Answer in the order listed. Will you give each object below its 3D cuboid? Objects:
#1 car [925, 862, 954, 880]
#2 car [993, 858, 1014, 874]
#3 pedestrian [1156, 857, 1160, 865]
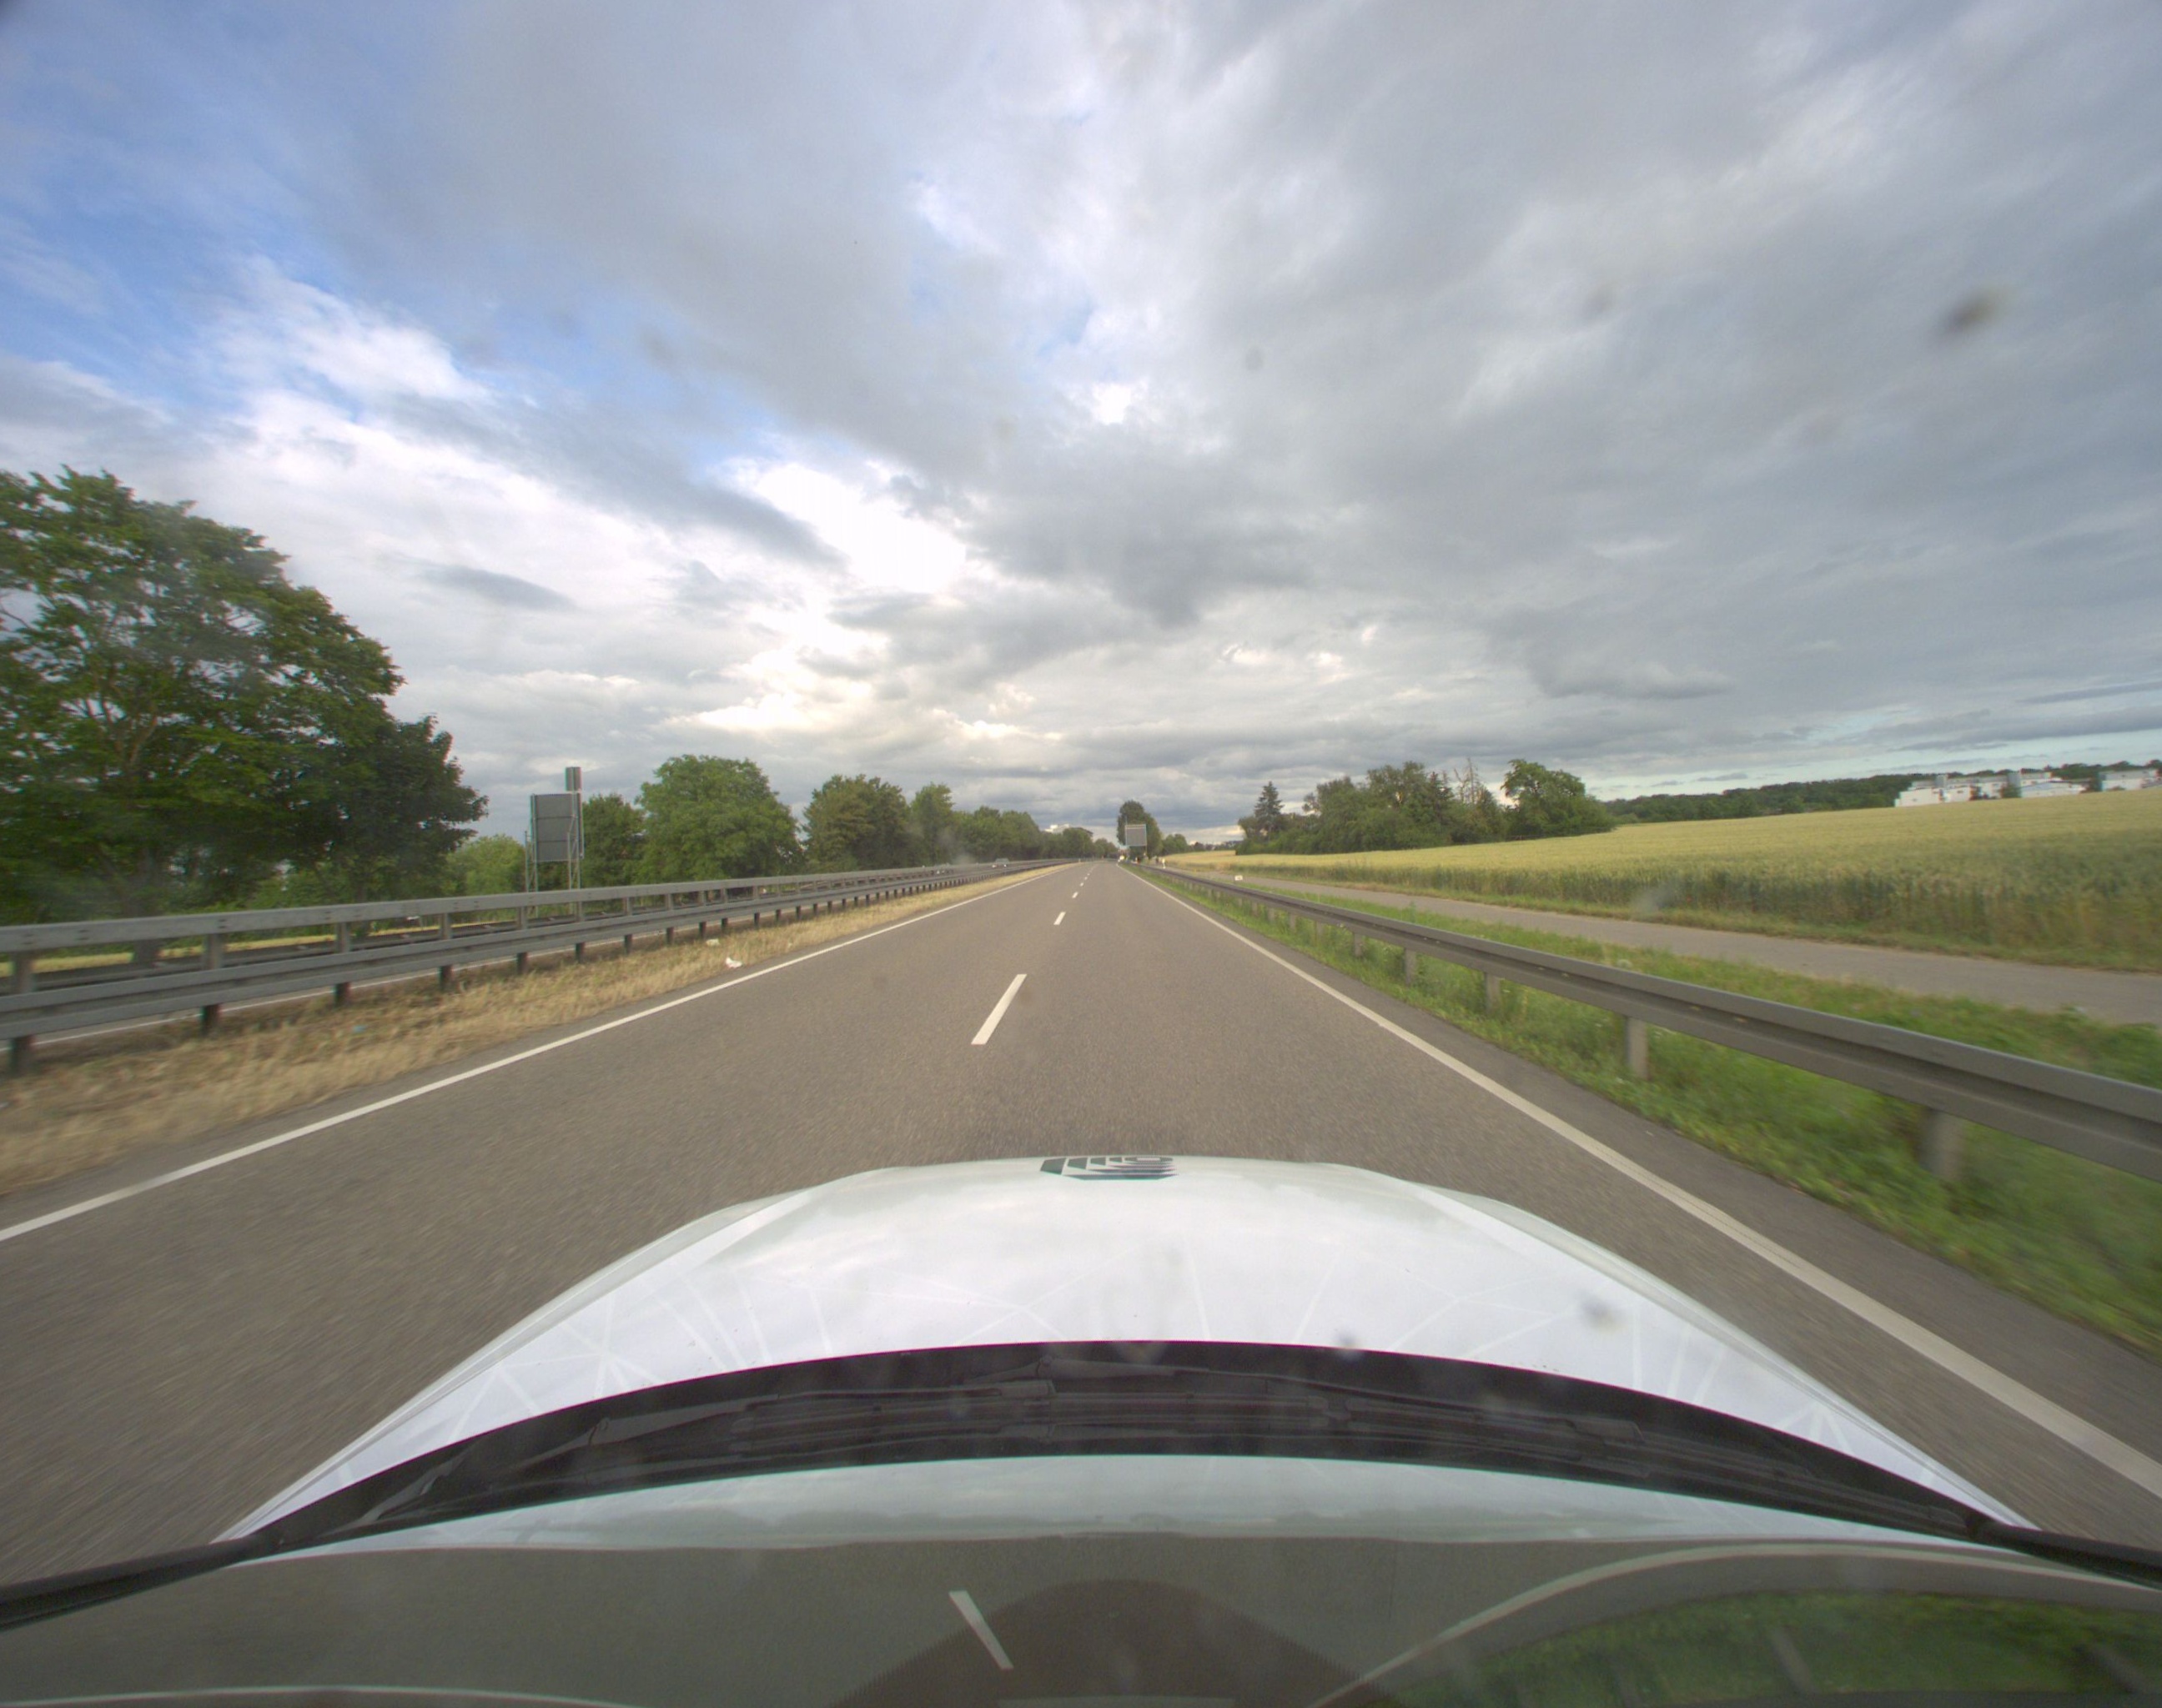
[{"bbox_3d":[-13.840,1.640,80.140,1.790,1.625,4.486,-3,0,3],"label":"car"},{"bbox_3d":[-9.050,1.399,95.149,1.790,1.625,4.486,-3,0,3],"label":"car"},{"bbox_3d":[14.835,1.353,157.052,0.600,1.666,0.542,0,-1,-1],"label":"pedestrian"}]
